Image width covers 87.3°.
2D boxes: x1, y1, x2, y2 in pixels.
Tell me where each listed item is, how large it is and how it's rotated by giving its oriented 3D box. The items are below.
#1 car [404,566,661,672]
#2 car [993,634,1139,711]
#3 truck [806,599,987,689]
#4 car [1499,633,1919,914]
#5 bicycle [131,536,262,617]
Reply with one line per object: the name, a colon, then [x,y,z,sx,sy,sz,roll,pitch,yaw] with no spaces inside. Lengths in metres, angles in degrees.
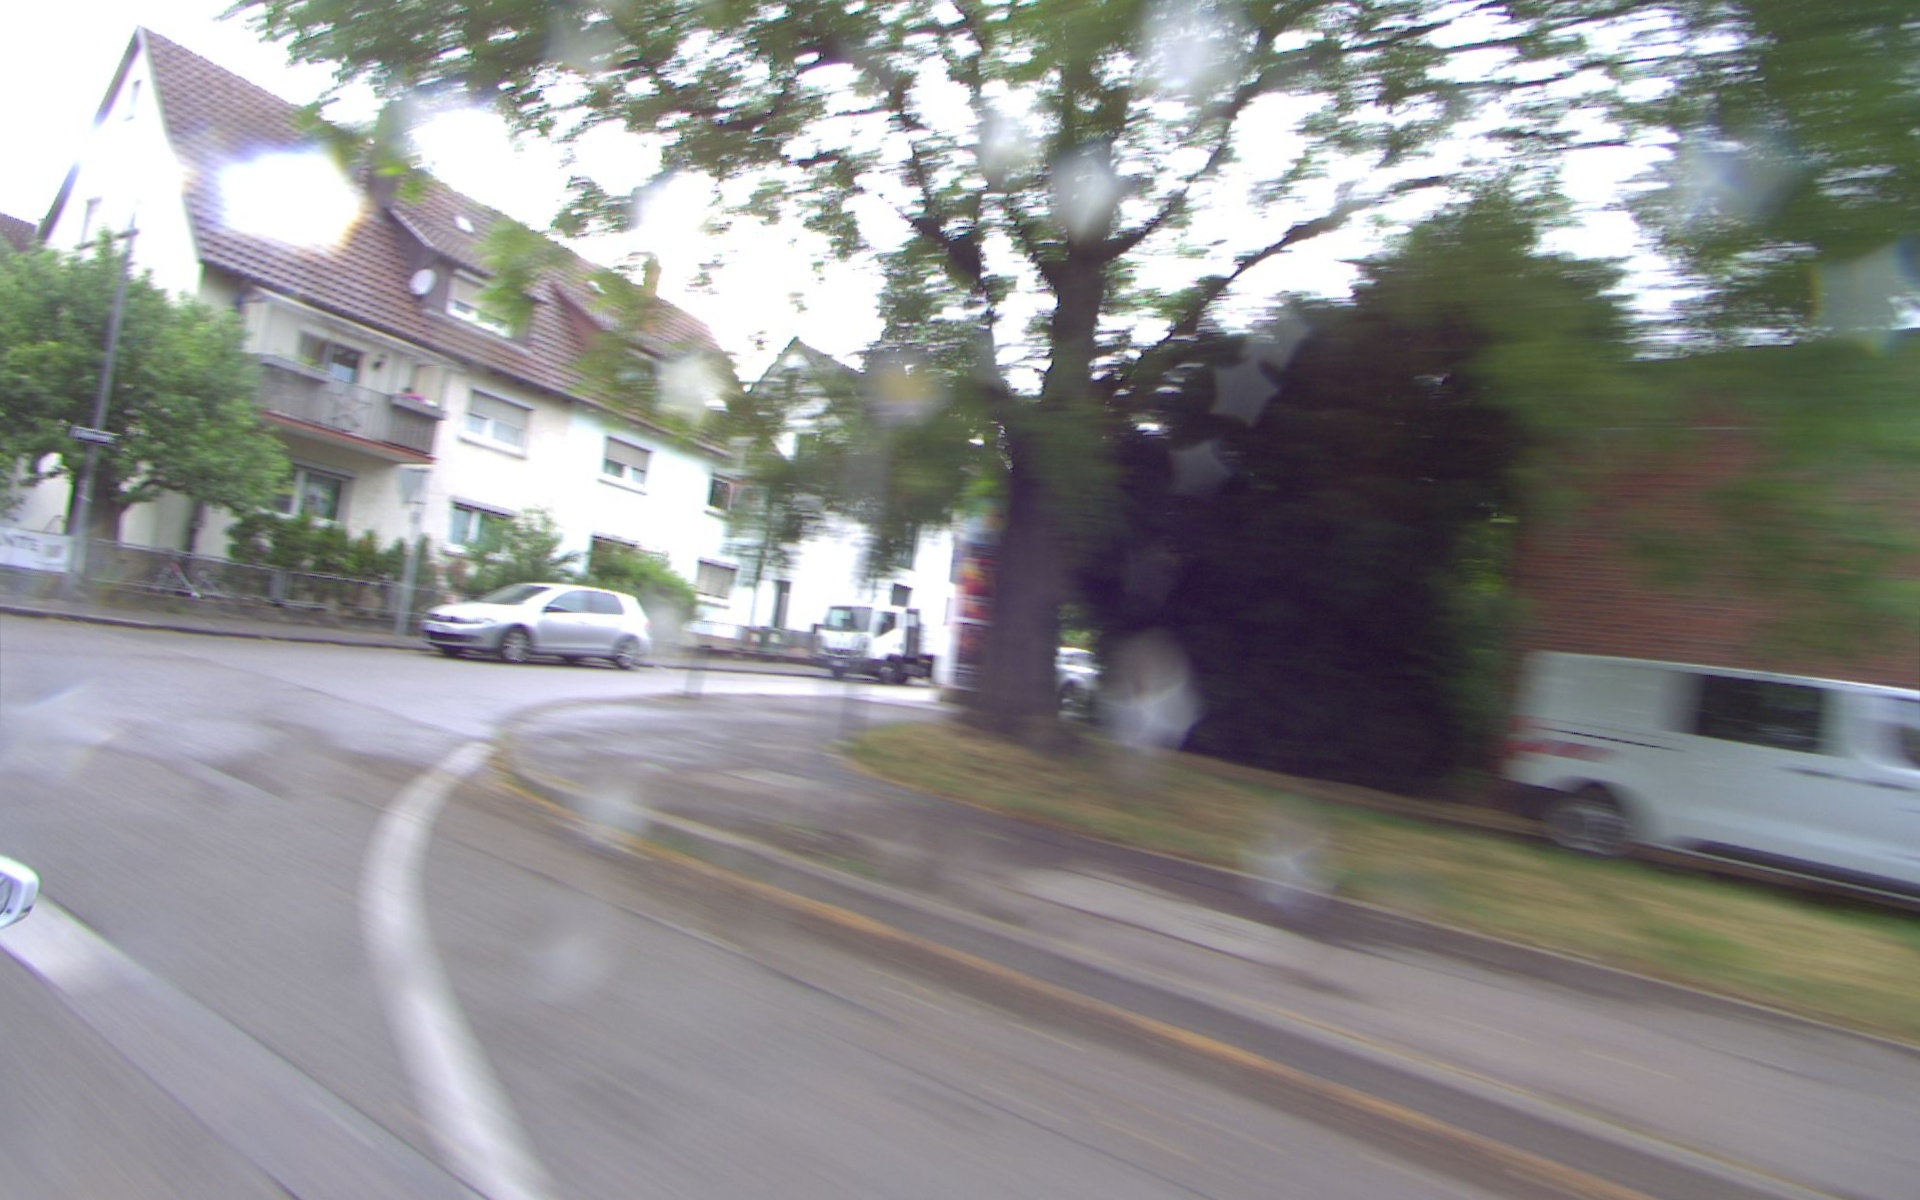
car: [-7.564,0.410,18.194,1.675,1.439,3.997,5,-3,29]
car: [2.545,1.734,23.163,1.675,1.439,4.361,5,-3,29]
truck: [-1.620,1.328,28.410,1.968,2.083,5.838,3,-4,32]
car: [7.724,1.615,8.698,5.065,1.823,1.999,7,-4,35]
bicycle: [-12.748,-0.367,16.844,0.450,1.128,1.572,8,-1,35]
